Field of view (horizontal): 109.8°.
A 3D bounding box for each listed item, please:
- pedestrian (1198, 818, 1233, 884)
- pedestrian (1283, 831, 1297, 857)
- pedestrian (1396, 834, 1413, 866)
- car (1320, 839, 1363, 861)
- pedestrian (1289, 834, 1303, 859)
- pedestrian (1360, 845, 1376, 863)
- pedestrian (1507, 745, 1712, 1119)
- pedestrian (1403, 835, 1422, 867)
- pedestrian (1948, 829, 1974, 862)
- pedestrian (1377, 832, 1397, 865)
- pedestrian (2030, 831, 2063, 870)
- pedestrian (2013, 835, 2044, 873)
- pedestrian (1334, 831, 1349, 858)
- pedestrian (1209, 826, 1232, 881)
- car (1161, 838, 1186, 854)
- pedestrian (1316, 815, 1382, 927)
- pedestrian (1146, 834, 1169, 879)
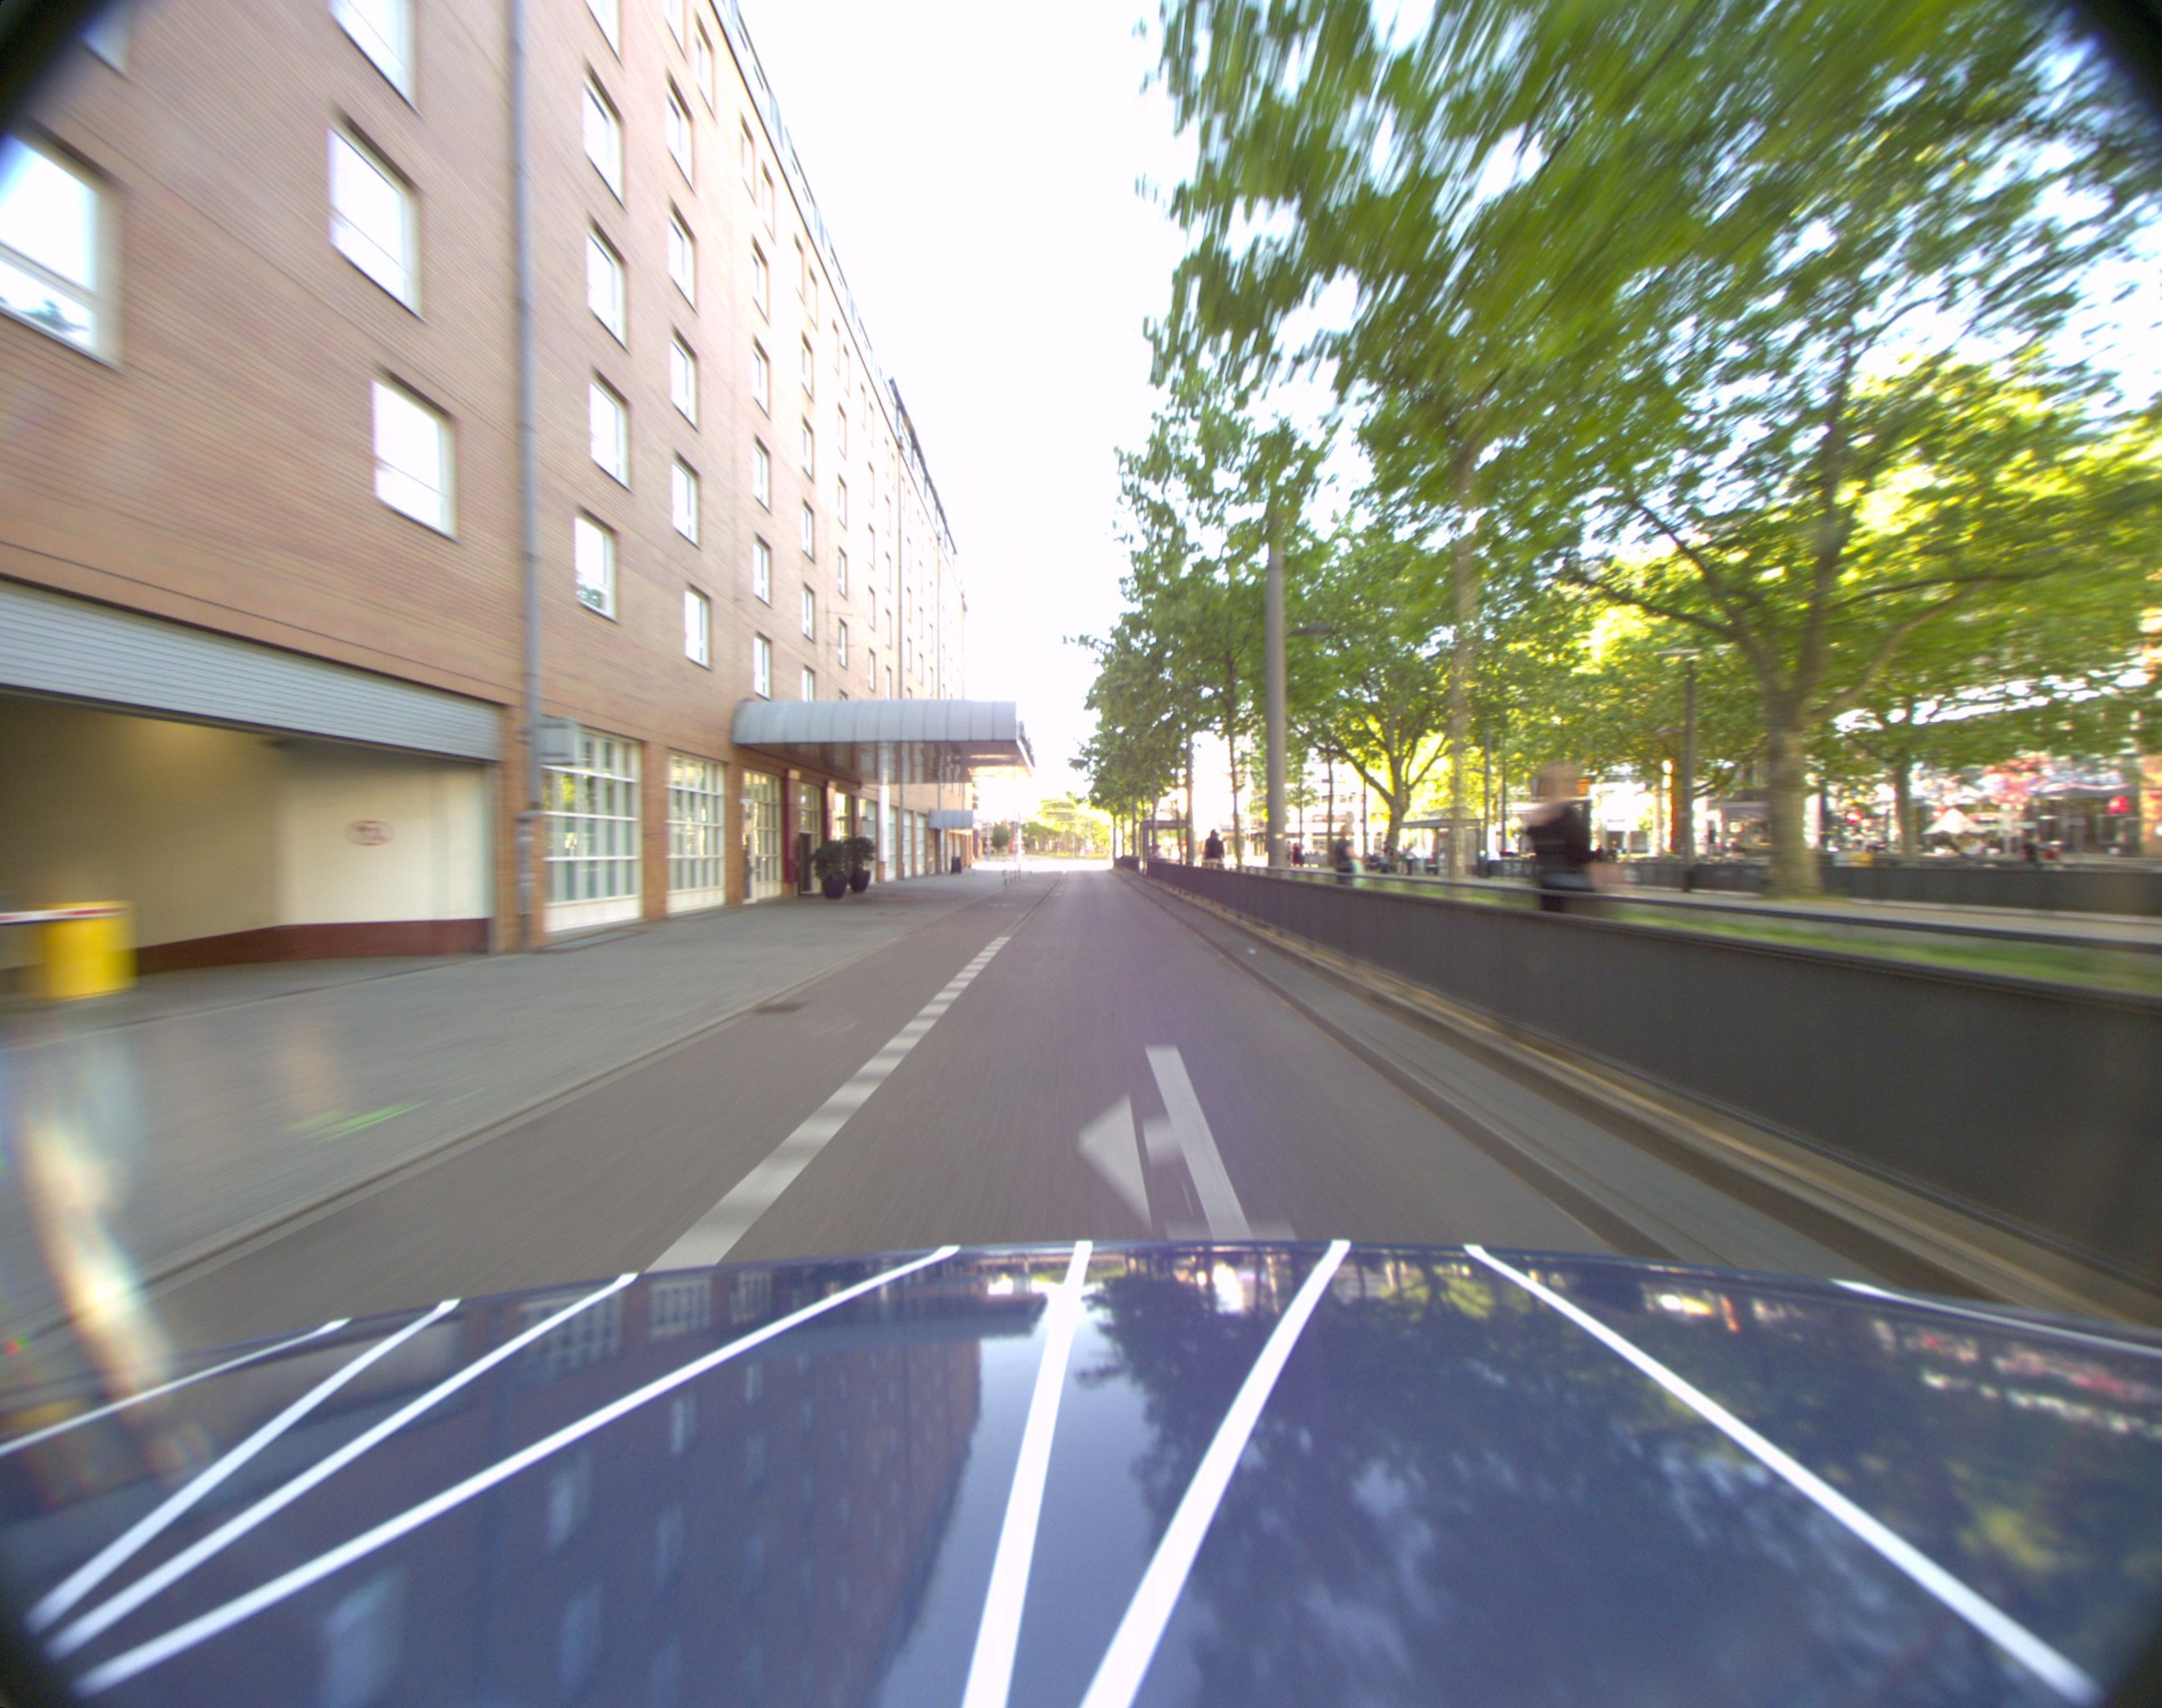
[{"bbox_3d":[3.732,-0.075,21.124,0.708,1.792,0.826,-1,1,-7],"label":"pedestrian"},{"bbox_3d":[14.085,-0.665,51.265,0.656,1.744,0.676,-1,1,-8],"label":"pedestrian"},{"bbox_3d":[15.234,-0.195,35.794,0.554,1.489,0.550,-1,1,-12],"label":"pedestrian"},{"bbox_3d":[19.671,-0.314,57.535,1.998,1.630,4.000,0,1,1],"label":"car"},{"bbox_3d":[14.323,-0.493,50.606,0.686,1.686,0.698,-1,1,-8],"label":"pedestrian"},{"bbox_3d":[16.765,0.002,44.435,0.723,1.034,0.698,0,1,8],"label":"pedestrian"},{"bbox_3d":[2.838,0.393,4.148,0.647,1.876,0.661,0,1,0],"label":"pedestrian"},{"bbox_3d":[15.361,-0.147,35.220,0.571,1.477,0.607,-1,1,-12],"label":"pedestrian"},{"bbox_3d":[43.275,-0.407,37.384,0.579,1.595,0.597,-1,1,-1],"label":"pedestrian"},{"bbox_3d":[15.378,-0.302,38.170,0.669,1.632,0.668,-1,2,-12],"label":"pedestrian"},{"bbox_3d":[40.873,-0.151,32.168,0.579,1.595,0.598,-1,1,5],"label":"pedestrian"},{"bbox_3d":[40.217,-0.008,32.262,0.579,1.595,0.580,-1,1,5],"label":"pedestrian"},{"bbox_3d":[16.428,-0.599,47.880,0.698,1.730,0.637,-1,1,-8],"label":"pedestrian"},{"bbox_3d":[4.733,-0.019,25.807,0.648,1.829,0.638,-1,1,0],"label":"pedestrian"},{"bbox_3d":[8.659,-0.743,71.335,1.871,1.447,3.341,-1,1,0],"label":"car"},{"bbox_3d":[4.203,0.256,11.977,0.731,1.692,0.863,-1,1,2],"label":"pedestrian"},{"bbox_3d":[2.944,0.091,29.440,0.742,1.680,0.645,-3,1,-1],"label":"pedestrian"}]
